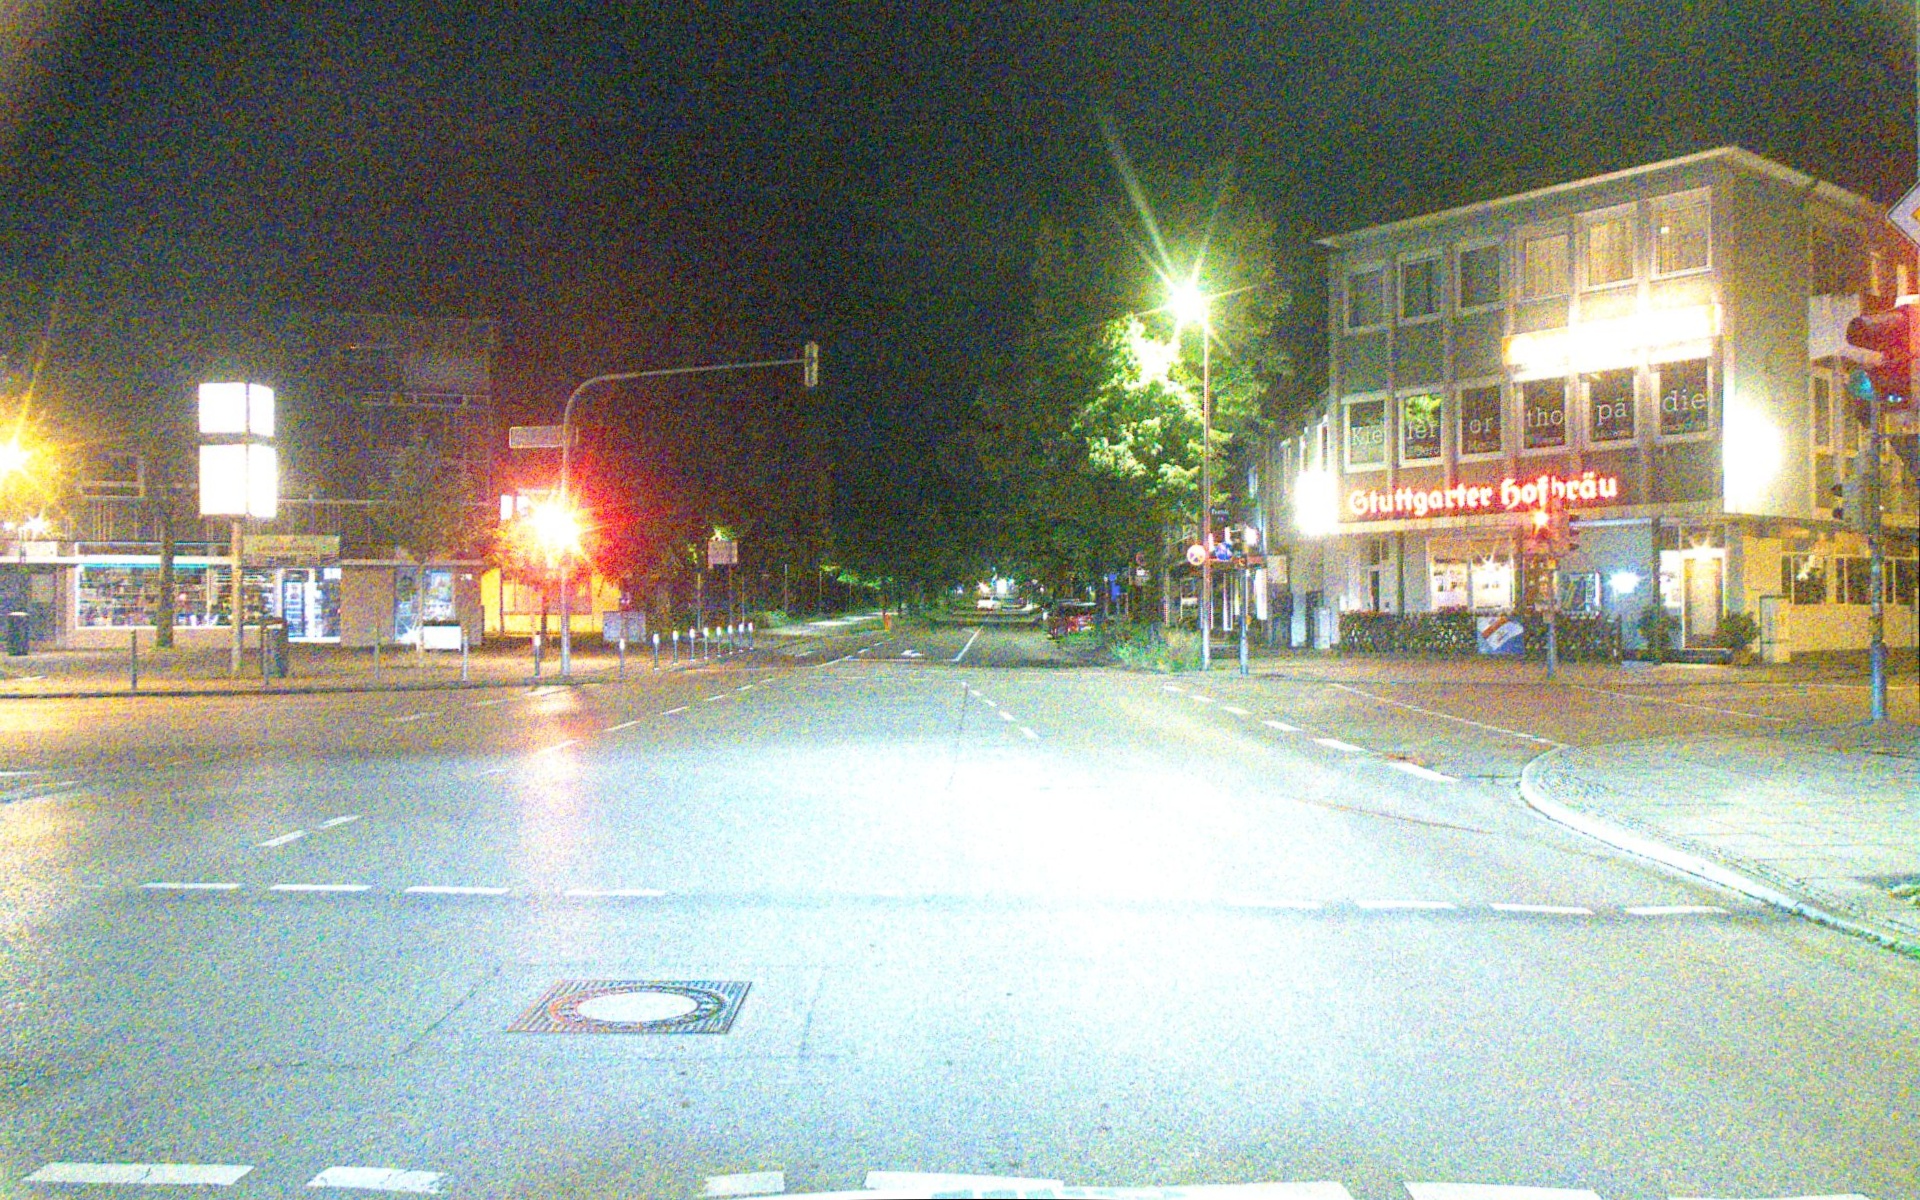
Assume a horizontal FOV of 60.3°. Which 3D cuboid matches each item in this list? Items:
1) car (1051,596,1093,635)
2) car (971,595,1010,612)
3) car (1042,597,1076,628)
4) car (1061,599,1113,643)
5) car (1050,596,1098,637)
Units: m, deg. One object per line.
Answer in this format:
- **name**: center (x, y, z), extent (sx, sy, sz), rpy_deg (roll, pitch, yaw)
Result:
- **car**: center (5.152, 0.706, 76.537), extent (1.837, 1.759, 4.001), rpy_deg (0, 0, 2)
- **car**: center (3.034, 0.353, 162.447), extent (2.186, 1.680, 3.991), rpy_deg (0, 0, 31)
- **car**: center (5.652, 0.721, 94.629), extent (1.837, 1.713, 4.001), rpy_deg (0, 0, 2)
- **car**: center (4.872, 0.791, 63.882), extent (1.837, 1.643, 4.001), rpy_deg (0, 0, 2)
- **car**: center (4.728, 0.677, 68.860), extent (1.837, 1.643, 4.001), rpy_deg (0, 0, 2)
